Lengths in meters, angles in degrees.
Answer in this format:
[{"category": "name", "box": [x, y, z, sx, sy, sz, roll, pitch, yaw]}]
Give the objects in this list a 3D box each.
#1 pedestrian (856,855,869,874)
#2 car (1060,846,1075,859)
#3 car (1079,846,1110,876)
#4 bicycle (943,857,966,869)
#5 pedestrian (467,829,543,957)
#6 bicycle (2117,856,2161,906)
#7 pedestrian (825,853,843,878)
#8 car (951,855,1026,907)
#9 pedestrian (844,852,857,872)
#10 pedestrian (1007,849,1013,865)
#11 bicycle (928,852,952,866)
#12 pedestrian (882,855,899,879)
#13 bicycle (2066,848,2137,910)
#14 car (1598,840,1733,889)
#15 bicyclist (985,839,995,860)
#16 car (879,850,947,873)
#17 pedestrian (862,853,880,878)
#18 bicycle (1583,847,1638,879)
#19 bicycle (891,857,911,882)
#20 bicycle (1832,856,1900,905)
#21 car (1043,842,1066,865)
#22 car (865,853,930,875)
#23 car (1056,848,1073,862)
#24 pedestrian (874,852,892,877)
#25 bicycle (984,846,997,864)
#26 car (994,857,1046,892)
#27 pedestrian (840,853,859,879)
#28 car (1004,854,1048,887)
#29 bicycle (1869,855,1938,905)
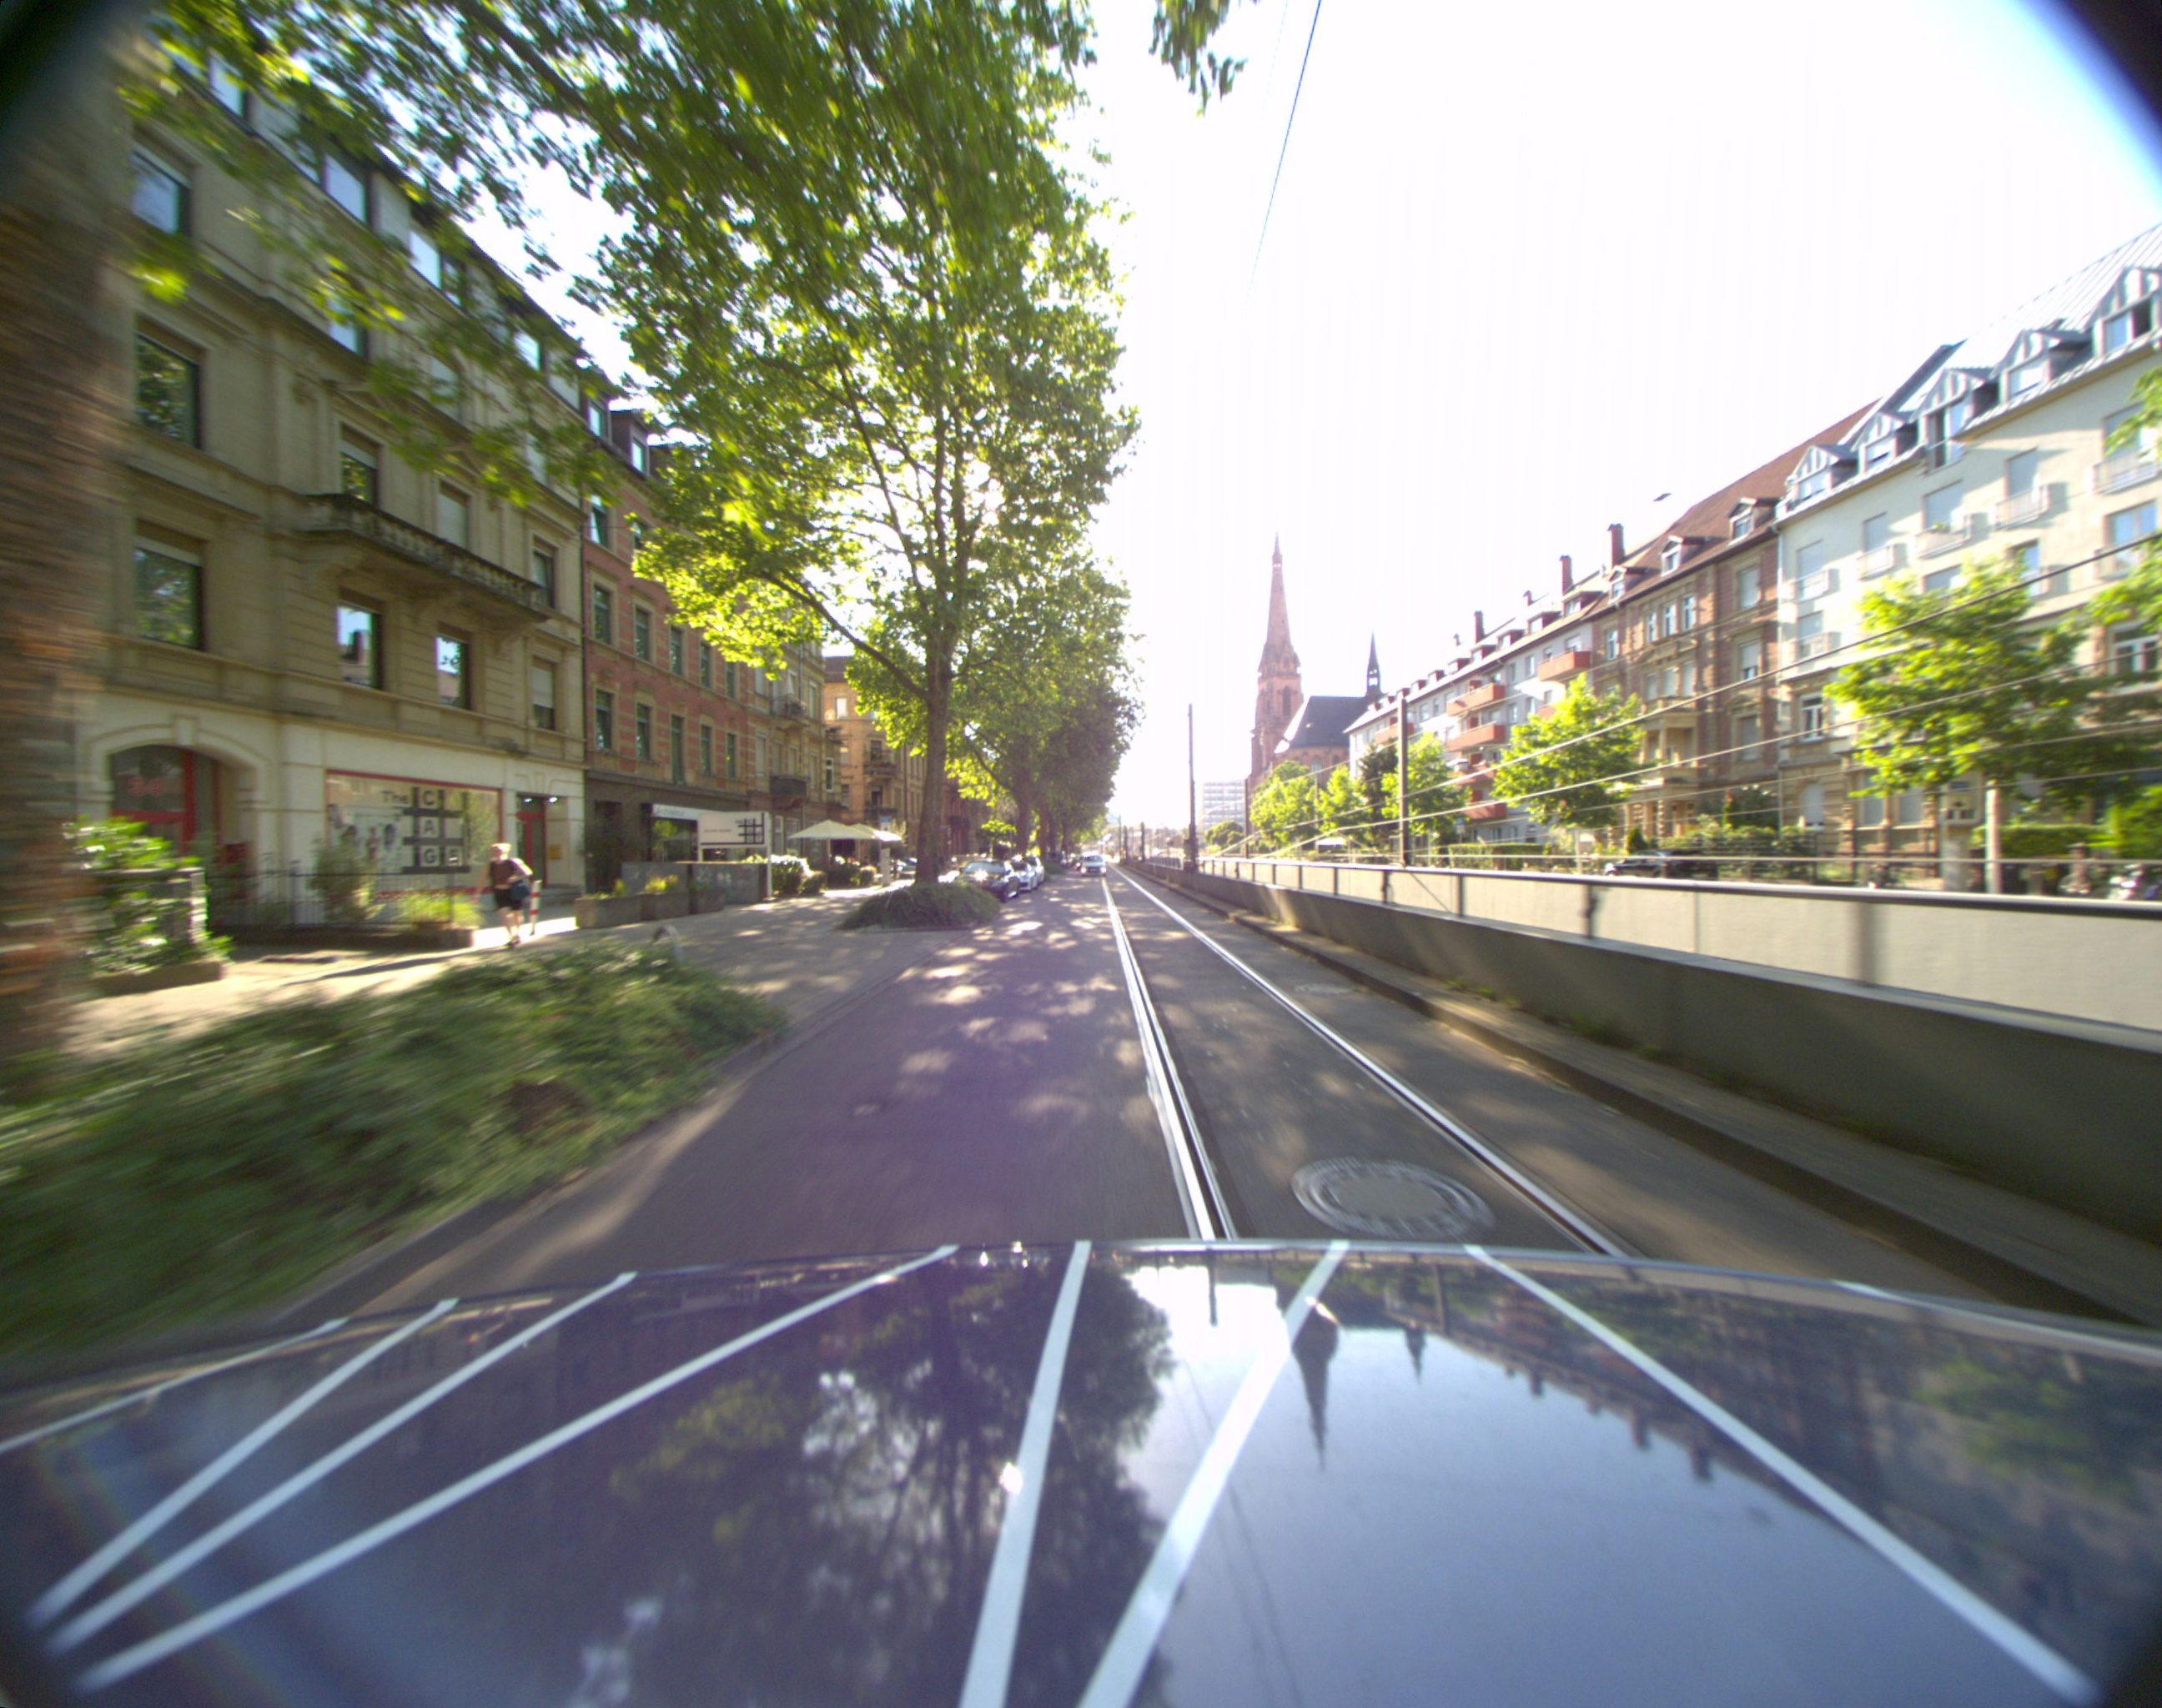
[{"category": "pedestrian", "box": [-12.704, 0.595, 44.133, 0.557, 1.095, 0.526, -1, 1, 1]}, {"category": "car", "box": [-1.590, -0.144, 91.785, 1.719, 1.454, 3.999, -1, 1, 0]}, {"category": "car", "box": [0.953, 0.517, 50.956, 1.823, 1.728, 4.003, -3, -3, 4]}, {"category": "bicycle", "box": [-9.657, 0.676, 57.912, 1.696, 0.911, 0.602, -1, 1, -10]}, {"category": "pedestrian", "box": [-9.322, 0.614, 12.319, 0.674, 2.002, 0.633, -1, 1, 1]}, {"category": "bicycle", "box": [21.578, 0.535, 15.374, 1.270, 0.900, 0.538, -4, 1, -29]}, {"category": "pedestrian", "box": [-13.254, 0.605, 40.826, 0.662, 1.292, 0.715, -1, 1, 1]}, {"category": "car", "box": [-3.061, 0.843, 26.081, 1.736, 1.528, 4.805, -1, 1, 3]}, {"category": "pedestrian", "box": [-13.383, 0.482, 44.204, 0.557, 1.131, 0.526, -1, 1, 1]}, {"category": "pedestrian", "box": [-7.514, 0.330, 80.065, 0.531, 1.618, 0.618, 1, 0, 1]}, {"category": "bicycle", "box": [-11.797, 0.433, 63.515, 1.866, 1.147, 0.476, -1, 1, 5]}, {"category": "pedestrian", "box": [-10.446, 0.724, 41.591, 0.714, 1.292, 0.662, -1, 1, 1]}, {"category": "bicycle", "box": [21.491, 0.500, 15.991, 2.379, 1.092, 0.556, -4, 1, -29]}, {"category": "car", "box": [21.592, 0.362, 28.282, 1.837, 1.576, 3.999, -4, 1, -1]}, {"category": "bicyclist", "box": [-6.027, -0.310, 50.285, 0.544, 1.372, 0.644, -4, 0, 0]}, {"category": "car", "box": [-12.367, 0.559, 56.267, 4.615, 1.539, 1.922, -2, 1, -4]}, {"category": "pedestrian", "box": [-10.938, 0.580, 39.568, 0.714, 1.292, 0.662, -1, 1, 1]}, {"category": "bicycle", "box": [22.114, 0.373, 31.737, 1.812, 1.171, 0.562, -4, 1, 4]}, {"category": "bicycle", "box": [-8.723, 0.722, 36.837, 0.476, 1.137, 1.896, 1, 1, 1]}, {"category": "bicycle", "box": [21.169, 0.683, 20.474, 2.790, 1.092, 0.641, -4, 1, -31]}, {"category": "car", "box": [-2.406, -0.059, 70.589, 1.998, 2.002, 5.201, 0, 0, 0]}, {"category": "car", "box": [-12.284, 0.677, 51.048, 3.998, 1.356, 1.743, -1, -1, -2]}, {"category": "car", "box": [-1.800, 0.086, 85.913, 1.718, 1.540, 4.500, 0, 1, 1]}, {"category": "pedestrian", "box": [-10.547, 0.533, 40.493, 0.714, 1.292, 0.662, -1, 1, 0]}, {"category": "bicycle", "box": [-5.996, 0.059, 50.325, 0.562, 1.171, 2.226, -3, 0, 0]}, {"category": "car", "box": [-2.593, 0.858, 33.057, 1.834, 1.319, 4.000, -1, 1, 1]}, {"category": "pedestrian", "box": [-11.690, 0.596, 38.406, 0.714, 1.292, 0.663, -1, 1, 2]}, {"category": "car", "box": [-2.703, 0.797, 38.282, 1.807, 1.469, 4.646, -1, 1, 1]}, {"category": "bicycle", "box": [21.560, 0.662, 19.901, 2.790, 1.092, 0.641, -4, 1, -31]}]
